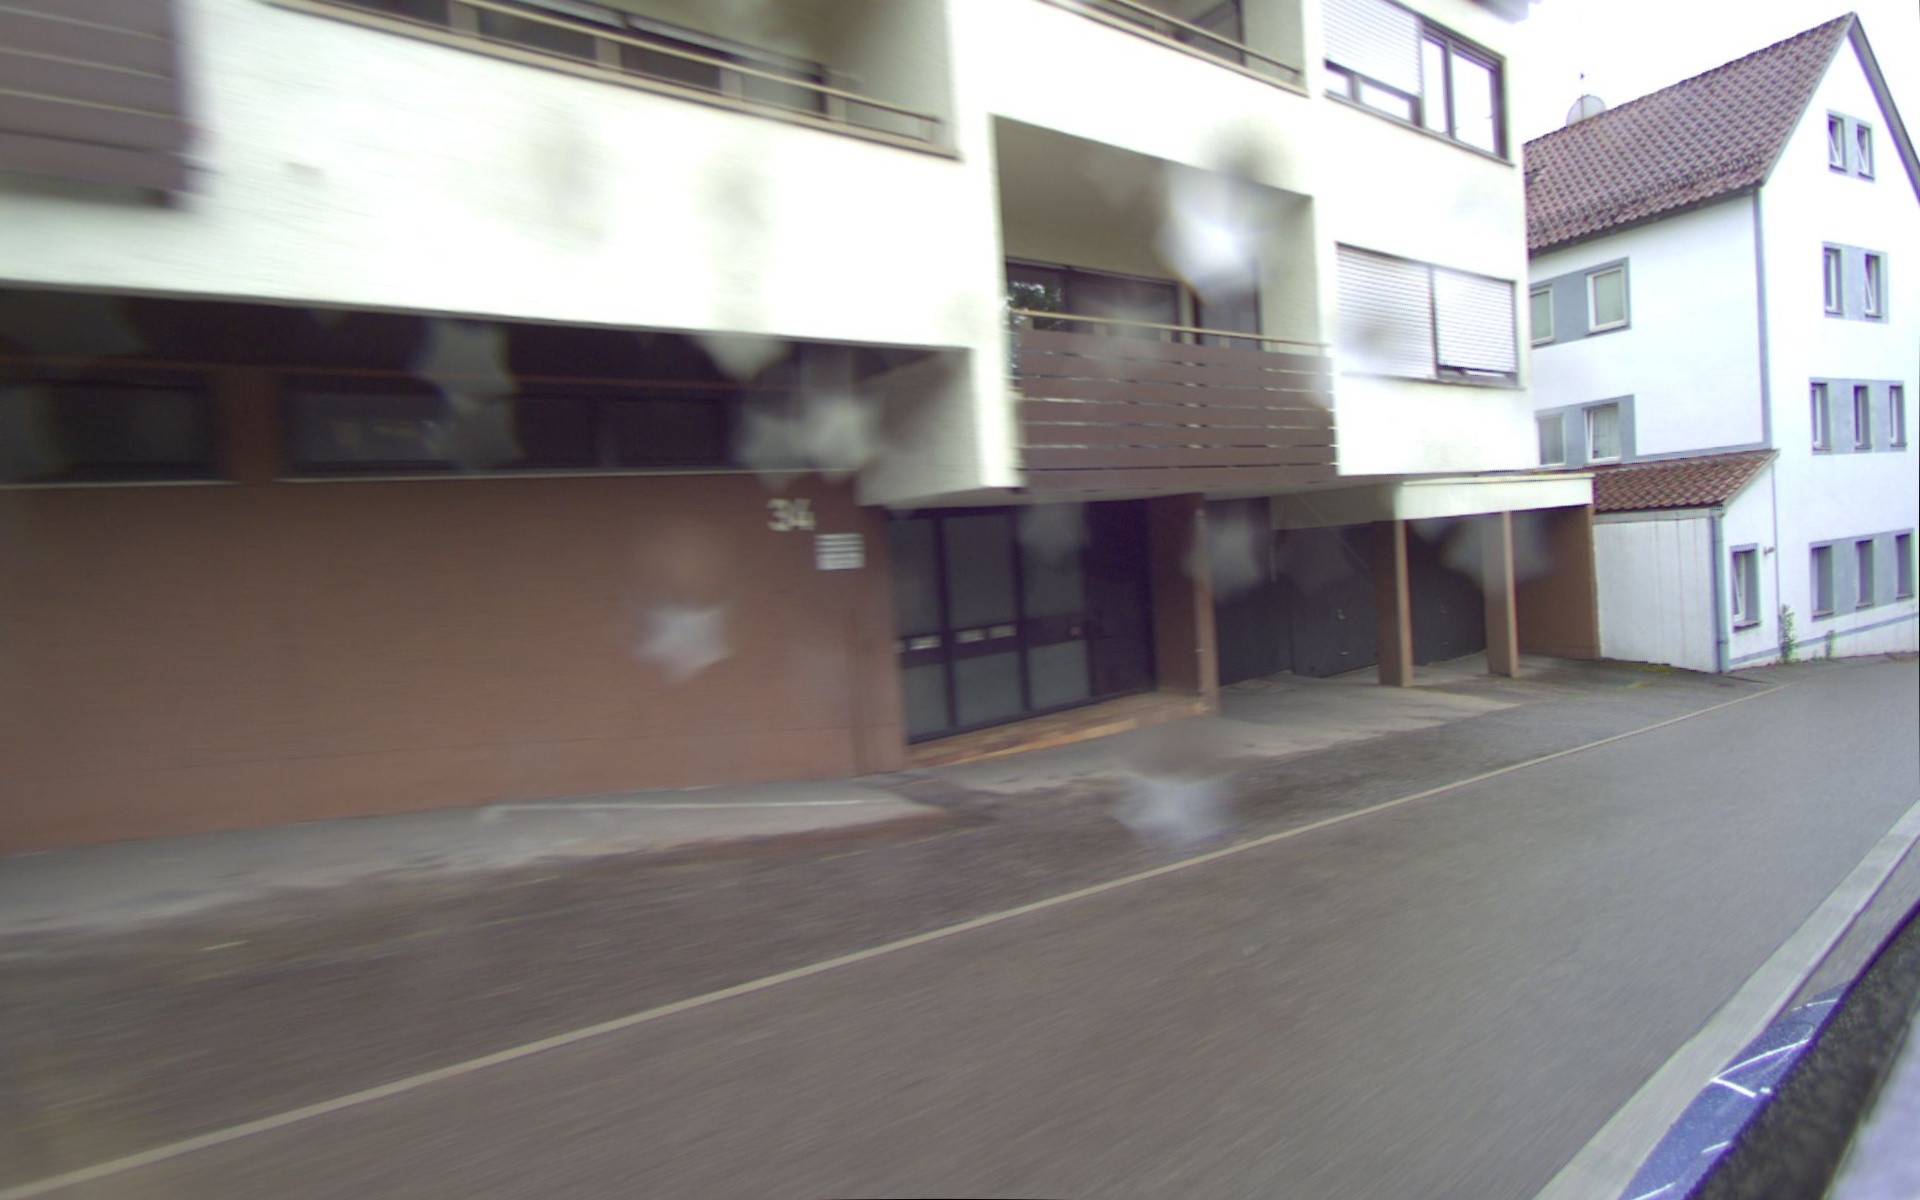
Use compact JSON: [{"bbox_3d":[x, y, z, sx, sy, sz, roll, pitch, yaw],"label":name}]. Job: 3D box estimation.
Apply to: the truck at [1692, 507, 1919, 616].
[{"bbox_3d":[24.732,-1.145,27.964,2.096,2.734,6.998,-1,5,-25],"label":"truck"}]
